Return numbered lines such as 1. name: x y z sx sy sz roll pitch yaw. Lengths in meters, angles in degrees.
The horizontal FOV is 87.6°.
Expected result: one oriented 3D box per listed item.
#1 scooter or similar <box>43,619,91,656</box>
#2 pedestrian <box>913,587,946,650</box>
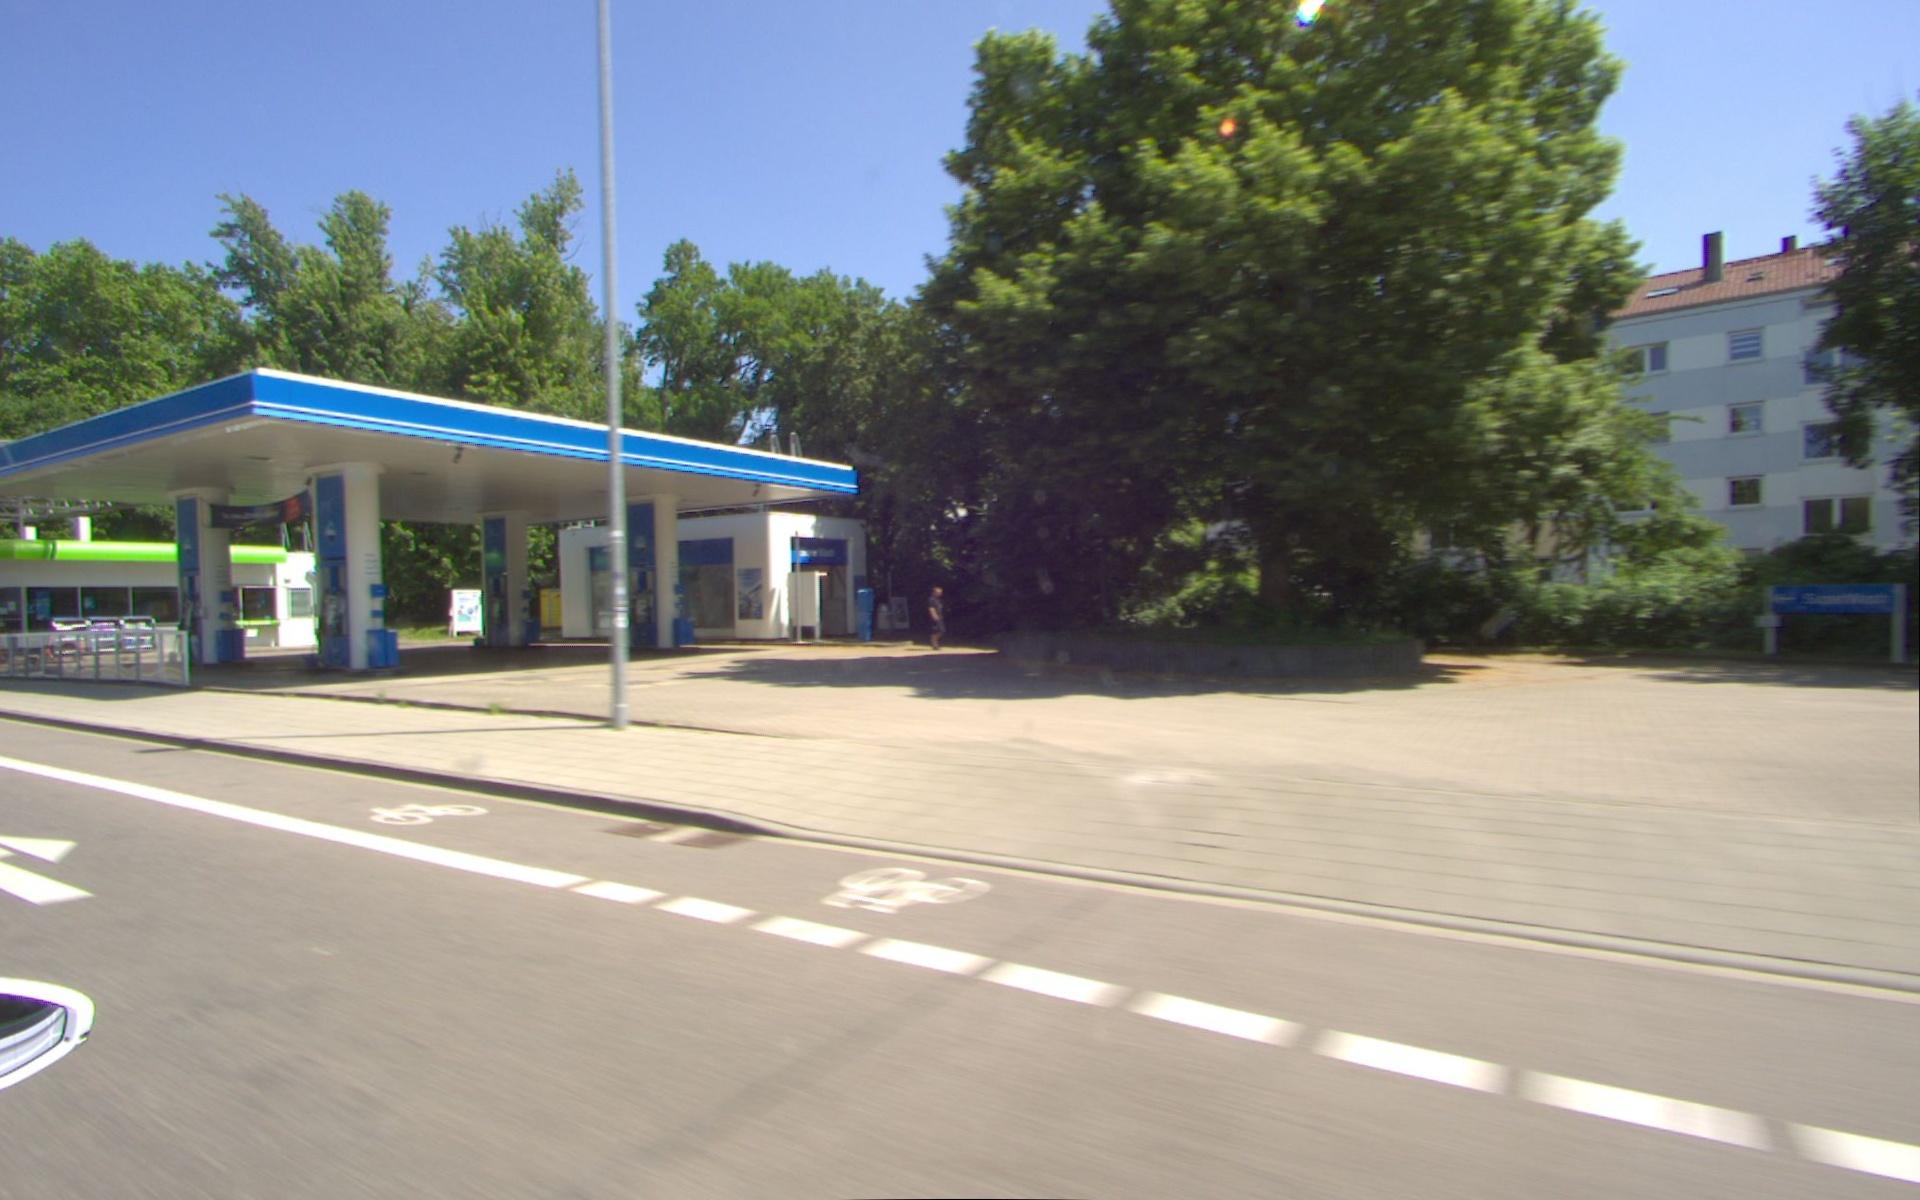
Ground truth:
1. scooter or similar: -29.936 1.244 33.571 0.378 1.192 1.132 0 1 32
2. pedestrian: -0.929 0.556 30.637 0.825 1.914 0.623 1 2 32
